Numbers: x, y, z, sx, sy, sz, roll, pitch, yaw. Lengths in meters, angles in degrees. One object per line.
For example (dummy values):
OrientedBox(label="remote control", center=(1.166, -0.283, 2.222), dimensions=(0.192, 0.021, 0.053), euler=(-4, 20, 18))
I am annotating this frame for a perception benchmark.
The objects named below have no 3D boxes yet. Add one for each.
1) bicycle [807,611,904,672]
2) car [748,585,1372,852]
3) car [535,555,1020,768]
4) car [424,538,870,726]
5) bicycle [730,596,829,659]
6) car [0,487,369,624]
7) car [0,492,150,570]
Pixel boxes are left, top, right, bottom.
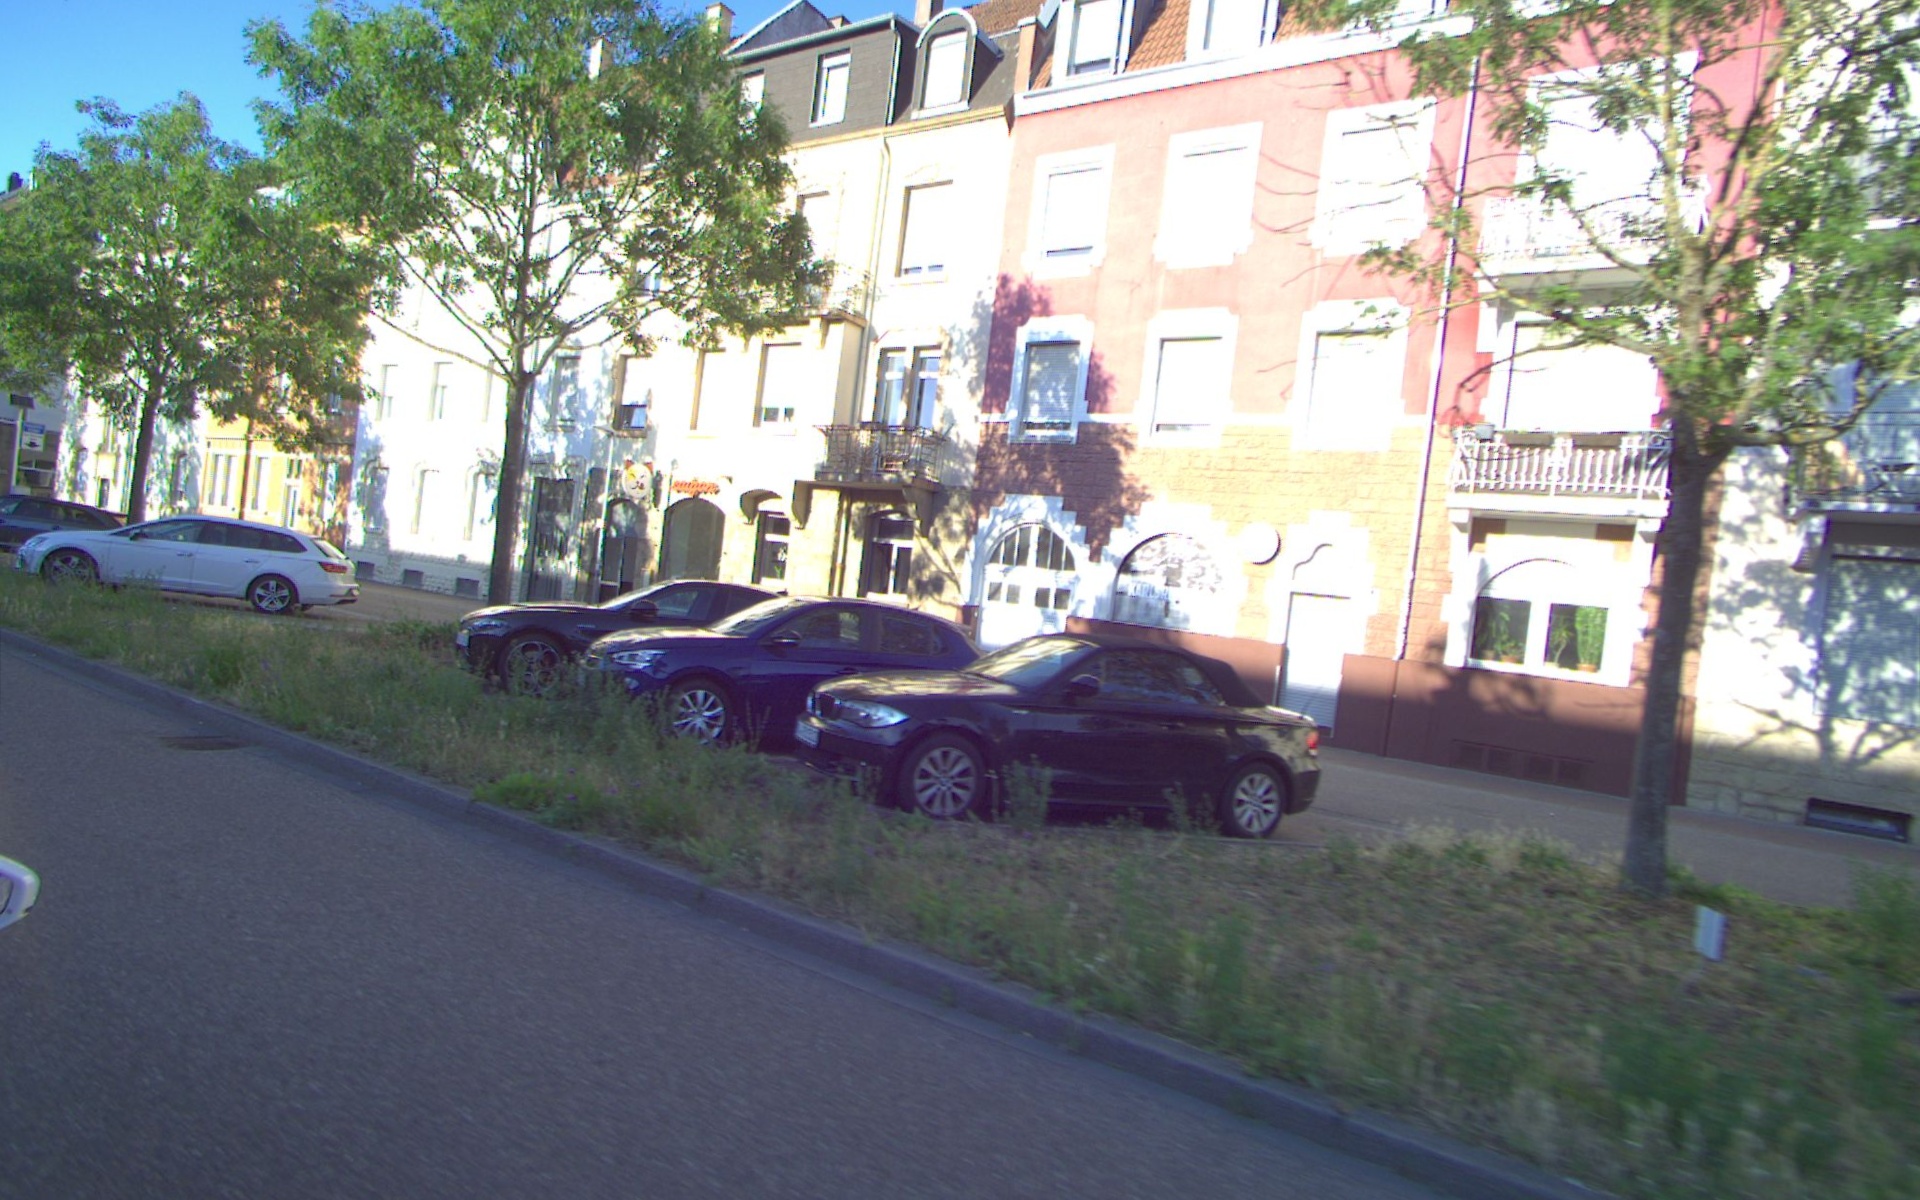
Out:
OrientedBox(label="bicycle", center=(-2.135, 0.837, 20.435), dimensions=(1.896, 1.003, 0.579), euler=(7, 1, 32))
OrientedBox(label="car", center=(0.808, 0.940, 7.848), dimensions=(4.383, 1.440, 1.910), euler=(9, -1, -26))
OrientedBox(label="car", center=(-1.644, 0.601, 9.390), dimensions=(4.009, 1.454, 1.714), euler=(8, -2, -30))
OrientedBox(label="car", center=(-3.452, 0.381, 11.493), dimensions=(4.377, 1.433, 1.876), euler=(8, -1, -22))
OrientedBox(label="bicycle", center=(-3.888, 0.575, 21.554), dimensions=(2.191, 1.093, 0.588), euler=(7, 2, 32))
OrientedBox(label="car", center=(-12.610, -0.673, 16.571), dimensions=(4.584, 1.528, 1.838), euler=(8, 0, -22))
OrientedBox(label="car", center=(-20.752, -1.649, 21.827), dimensions=(4.526, 1.364, 1.885), euler=(7, 0, -25))
